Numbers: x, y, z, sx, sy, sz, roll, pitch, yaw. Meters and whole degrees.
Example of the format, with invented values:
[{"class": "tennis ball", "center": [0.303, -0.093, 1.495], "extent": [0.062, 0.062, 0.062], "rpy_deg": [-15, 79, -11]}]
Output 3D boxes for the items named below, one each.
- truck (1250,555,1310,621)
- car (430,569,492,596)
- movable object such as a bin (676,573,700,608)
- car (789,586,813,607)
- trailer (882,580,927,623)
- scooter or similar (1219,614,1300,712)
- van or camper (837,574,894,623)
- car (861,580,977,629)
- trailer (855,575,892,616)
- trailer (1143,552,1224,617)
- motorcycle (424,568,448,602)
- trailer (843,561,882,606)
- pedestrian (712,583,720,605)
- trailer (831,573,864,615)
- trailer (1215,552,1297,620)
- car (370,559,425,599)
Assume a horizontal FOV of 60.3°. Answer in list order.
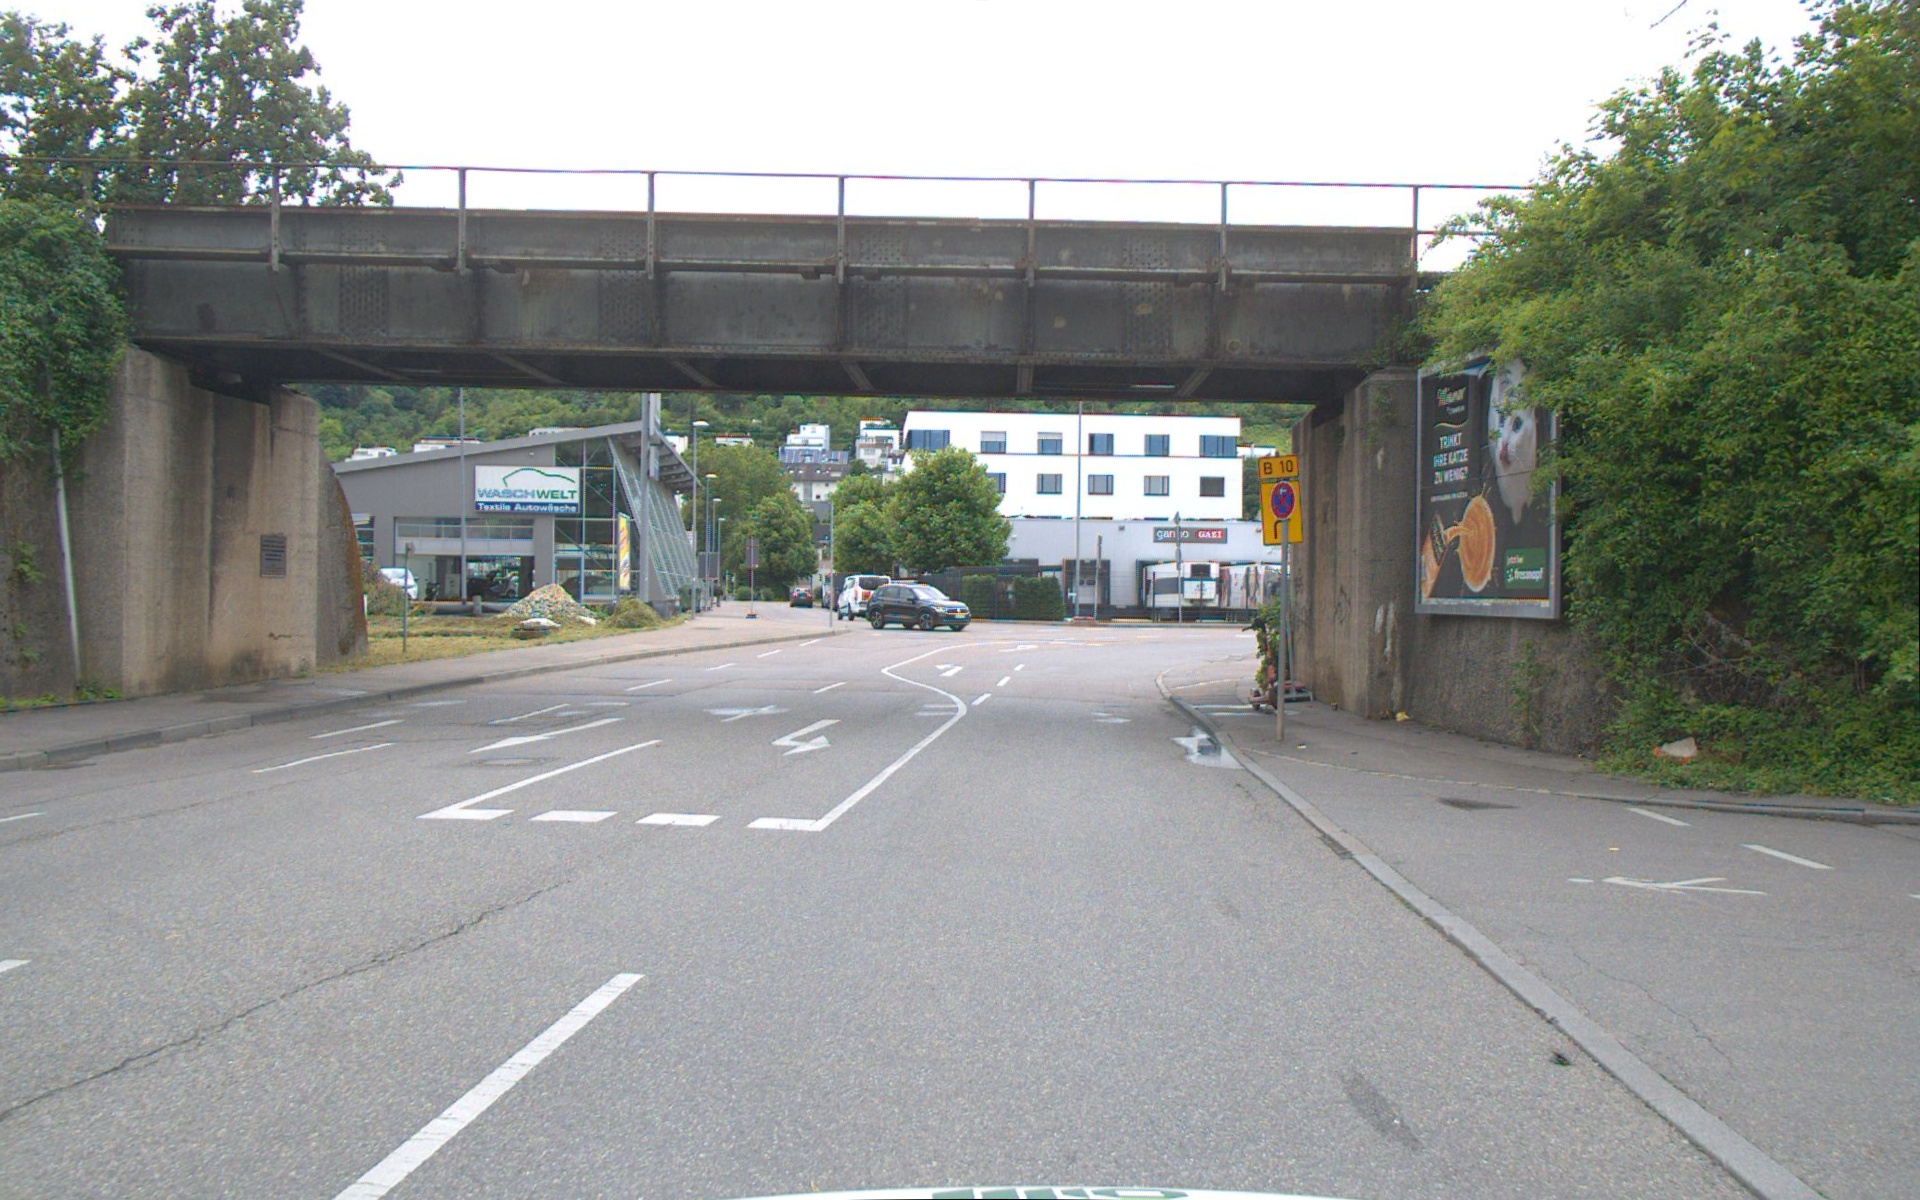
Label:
[{"class": "truck", "center": [20.584, -0.748, 106.470], "extent": [2.738, 4.110, 4.161], "rpy_deg": [1, 0, -4]}, {"class": "car", "center": [-33.570, -1.164, 111.383], "extent": [3.924, 1.758, 1.990], "rpy_deg": [1, 0, -18]}, {"class": "movable object such as a bin", "center": [-13.911, -0.482, 84.697], "extent": [1.120, 1.788, 1.058], "rpy_deg": [1, 0, -5]}, {"class": "car", "center": [-13.688, -0.300, 142.911], "extent": [1.954, 1.713, 3.996], "rpy_deg": [1, 0, -4]}, {"class": "trailer", "center": [-2.840, 0.059, 84.005], "extent": [1.955, 2.049, 3.994], "rpy_deg": [1, 1, -7]}, {"class": "scooter or similar", "center": [4.102, 0.844, 22.779], "extent": [0.495, 1.257, 1.666], "rpy_deg": [-3, 0, -10]}, {"class": "van or camper", "center": [-4.352, -0.062, 75.823], "extent": [2.061, 2.119, 4.194], "rpy_deg": [1, 0, -11]}, {"class": "car", "center": [-1.536, 0.146, 60.395], "extent": [1.982, 1.713, 4.307], "rpy_deg": [1, 0, -40]}, {"class": "trailer", "center": [-5.315, -0.298, 101.577], "extent": [1.955, 2.384, 3.994], "rpy_deg": [1, 1, -7]}, {"class": "trailer", "center": [15.043, -1.009, 112.364], "extent": [3.020, 4.149, 11.399], "rpy_deg": [1, 0, -4]}, {"class": "motorcycle", "center": [-28.067, -0.797, 88.577], "extent": [0.824, 1.740, 2.359], "rpy_deg": [1, 0, -9]}, {"class": "trailer", "center": [-8.601, -1.437, 145.545], "extent": [3.010, 3.825, 4.927], "rpy_deg": [1, 1, -7]}, {"class": "pedestrian", "center": [-18.929, -0.462, 128.282], "extent": [0.616, 1.702, 0.756], "rpy_deg": [1, -1, -10]}, {"class": "trailer", "center": [-8.411, -0.491, 123.391], "extent": [2.235, 3.004, 3.994], "rpy_deg": [1, 1, -7]}, {"class": "trailer", "center": [20.084, -0.924, 113.138], "extent": [2.729, 4.376, 11.171], "rpy_deg": [1, 0, -4]}, {"class": "car", "center": [-23.071, -0.864, 67.778], "extent": [1.965, 1.562, 3.975], "rpy_deg": [1, 0, -21]}]
